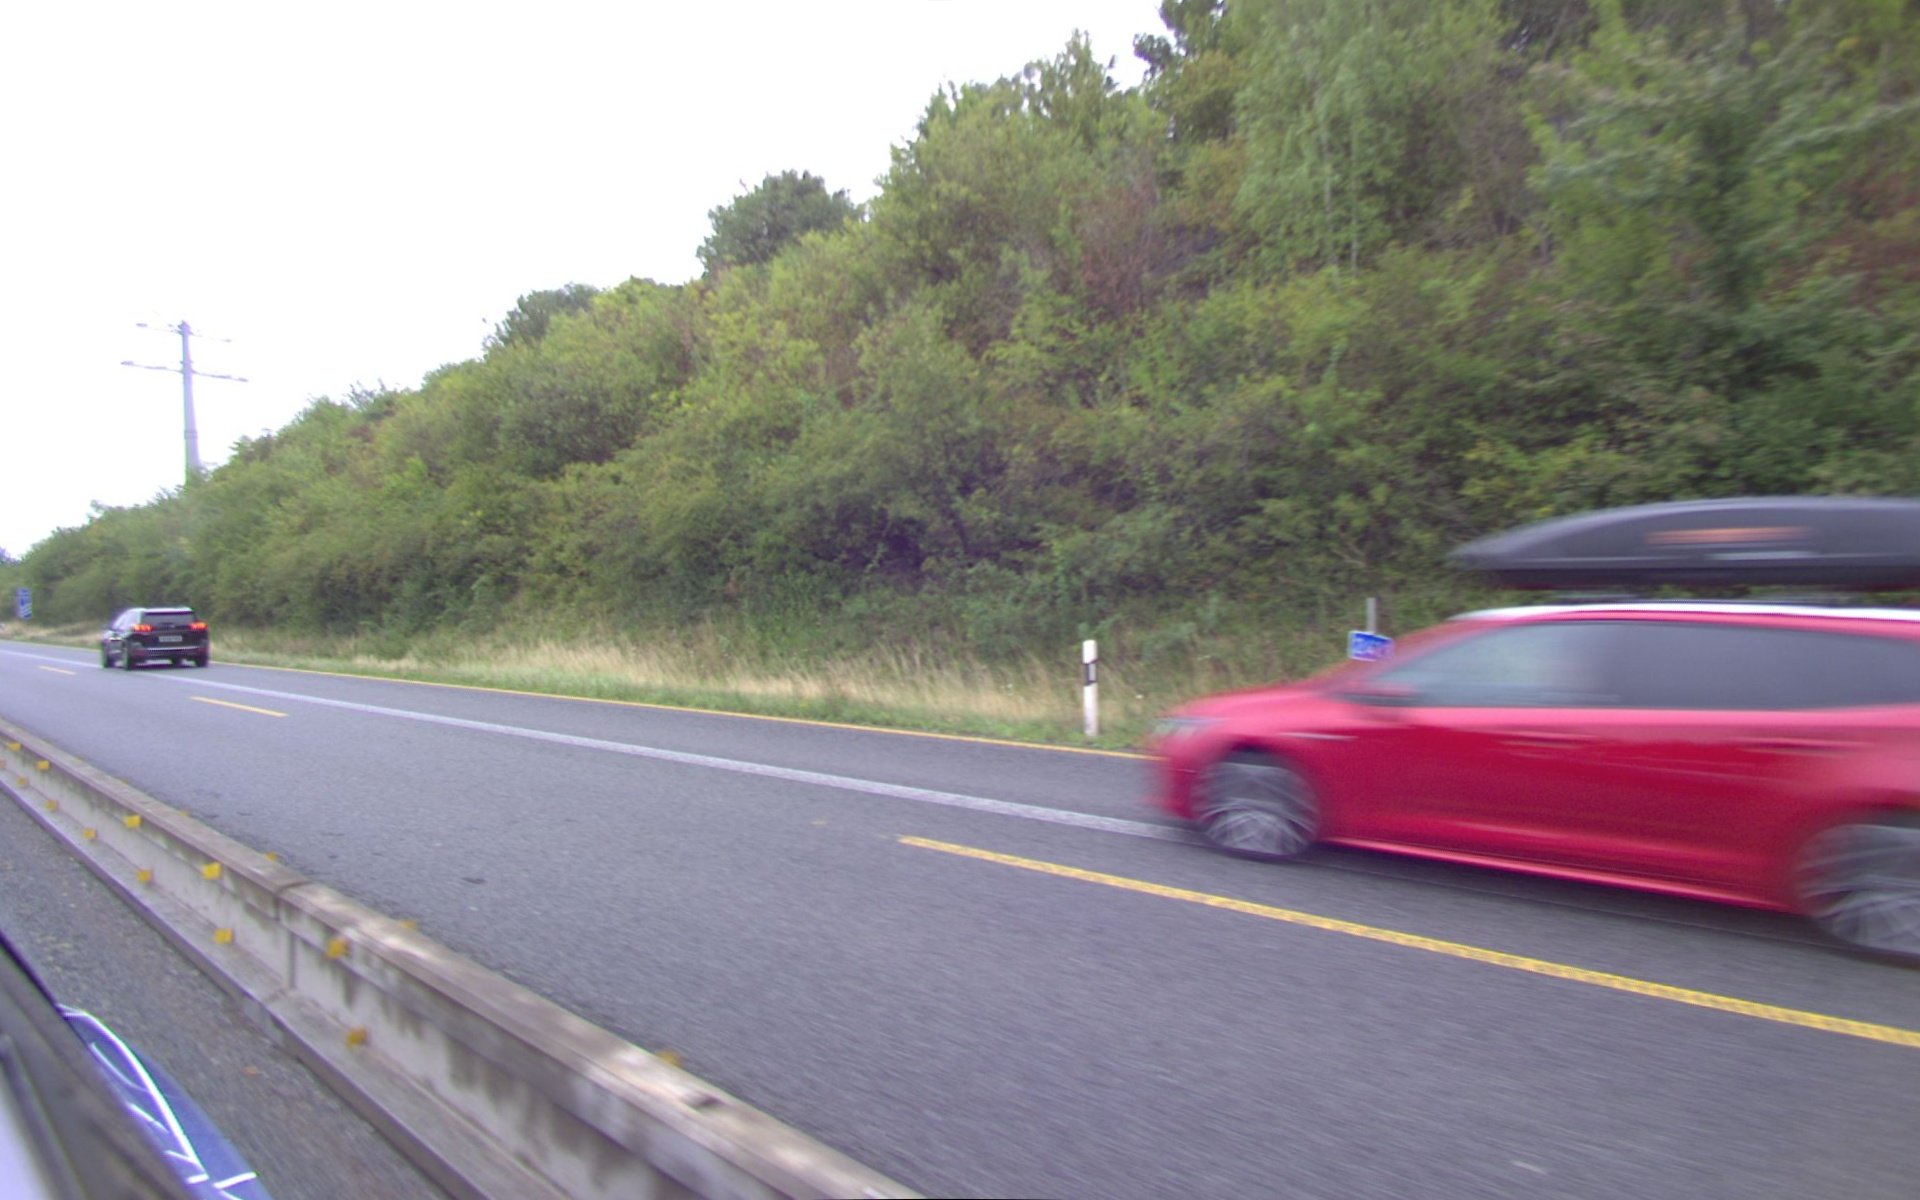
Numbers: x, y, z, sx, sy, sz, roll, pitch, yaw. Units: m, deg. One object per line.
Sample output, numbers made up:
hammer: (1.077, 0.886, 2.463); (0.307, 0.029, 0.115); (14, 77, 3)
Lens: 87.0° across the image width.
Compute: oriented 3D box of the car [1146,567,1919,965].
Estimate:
car: (3.325, 0.611, 5.043); (4.446, 1.462, 1.755); (-1, 0, 41)

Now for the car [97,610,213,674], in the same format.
car: (-22.415, 1.119, 28.146); (3.998, 1.614, 1.851); (-1, 0, 41)
